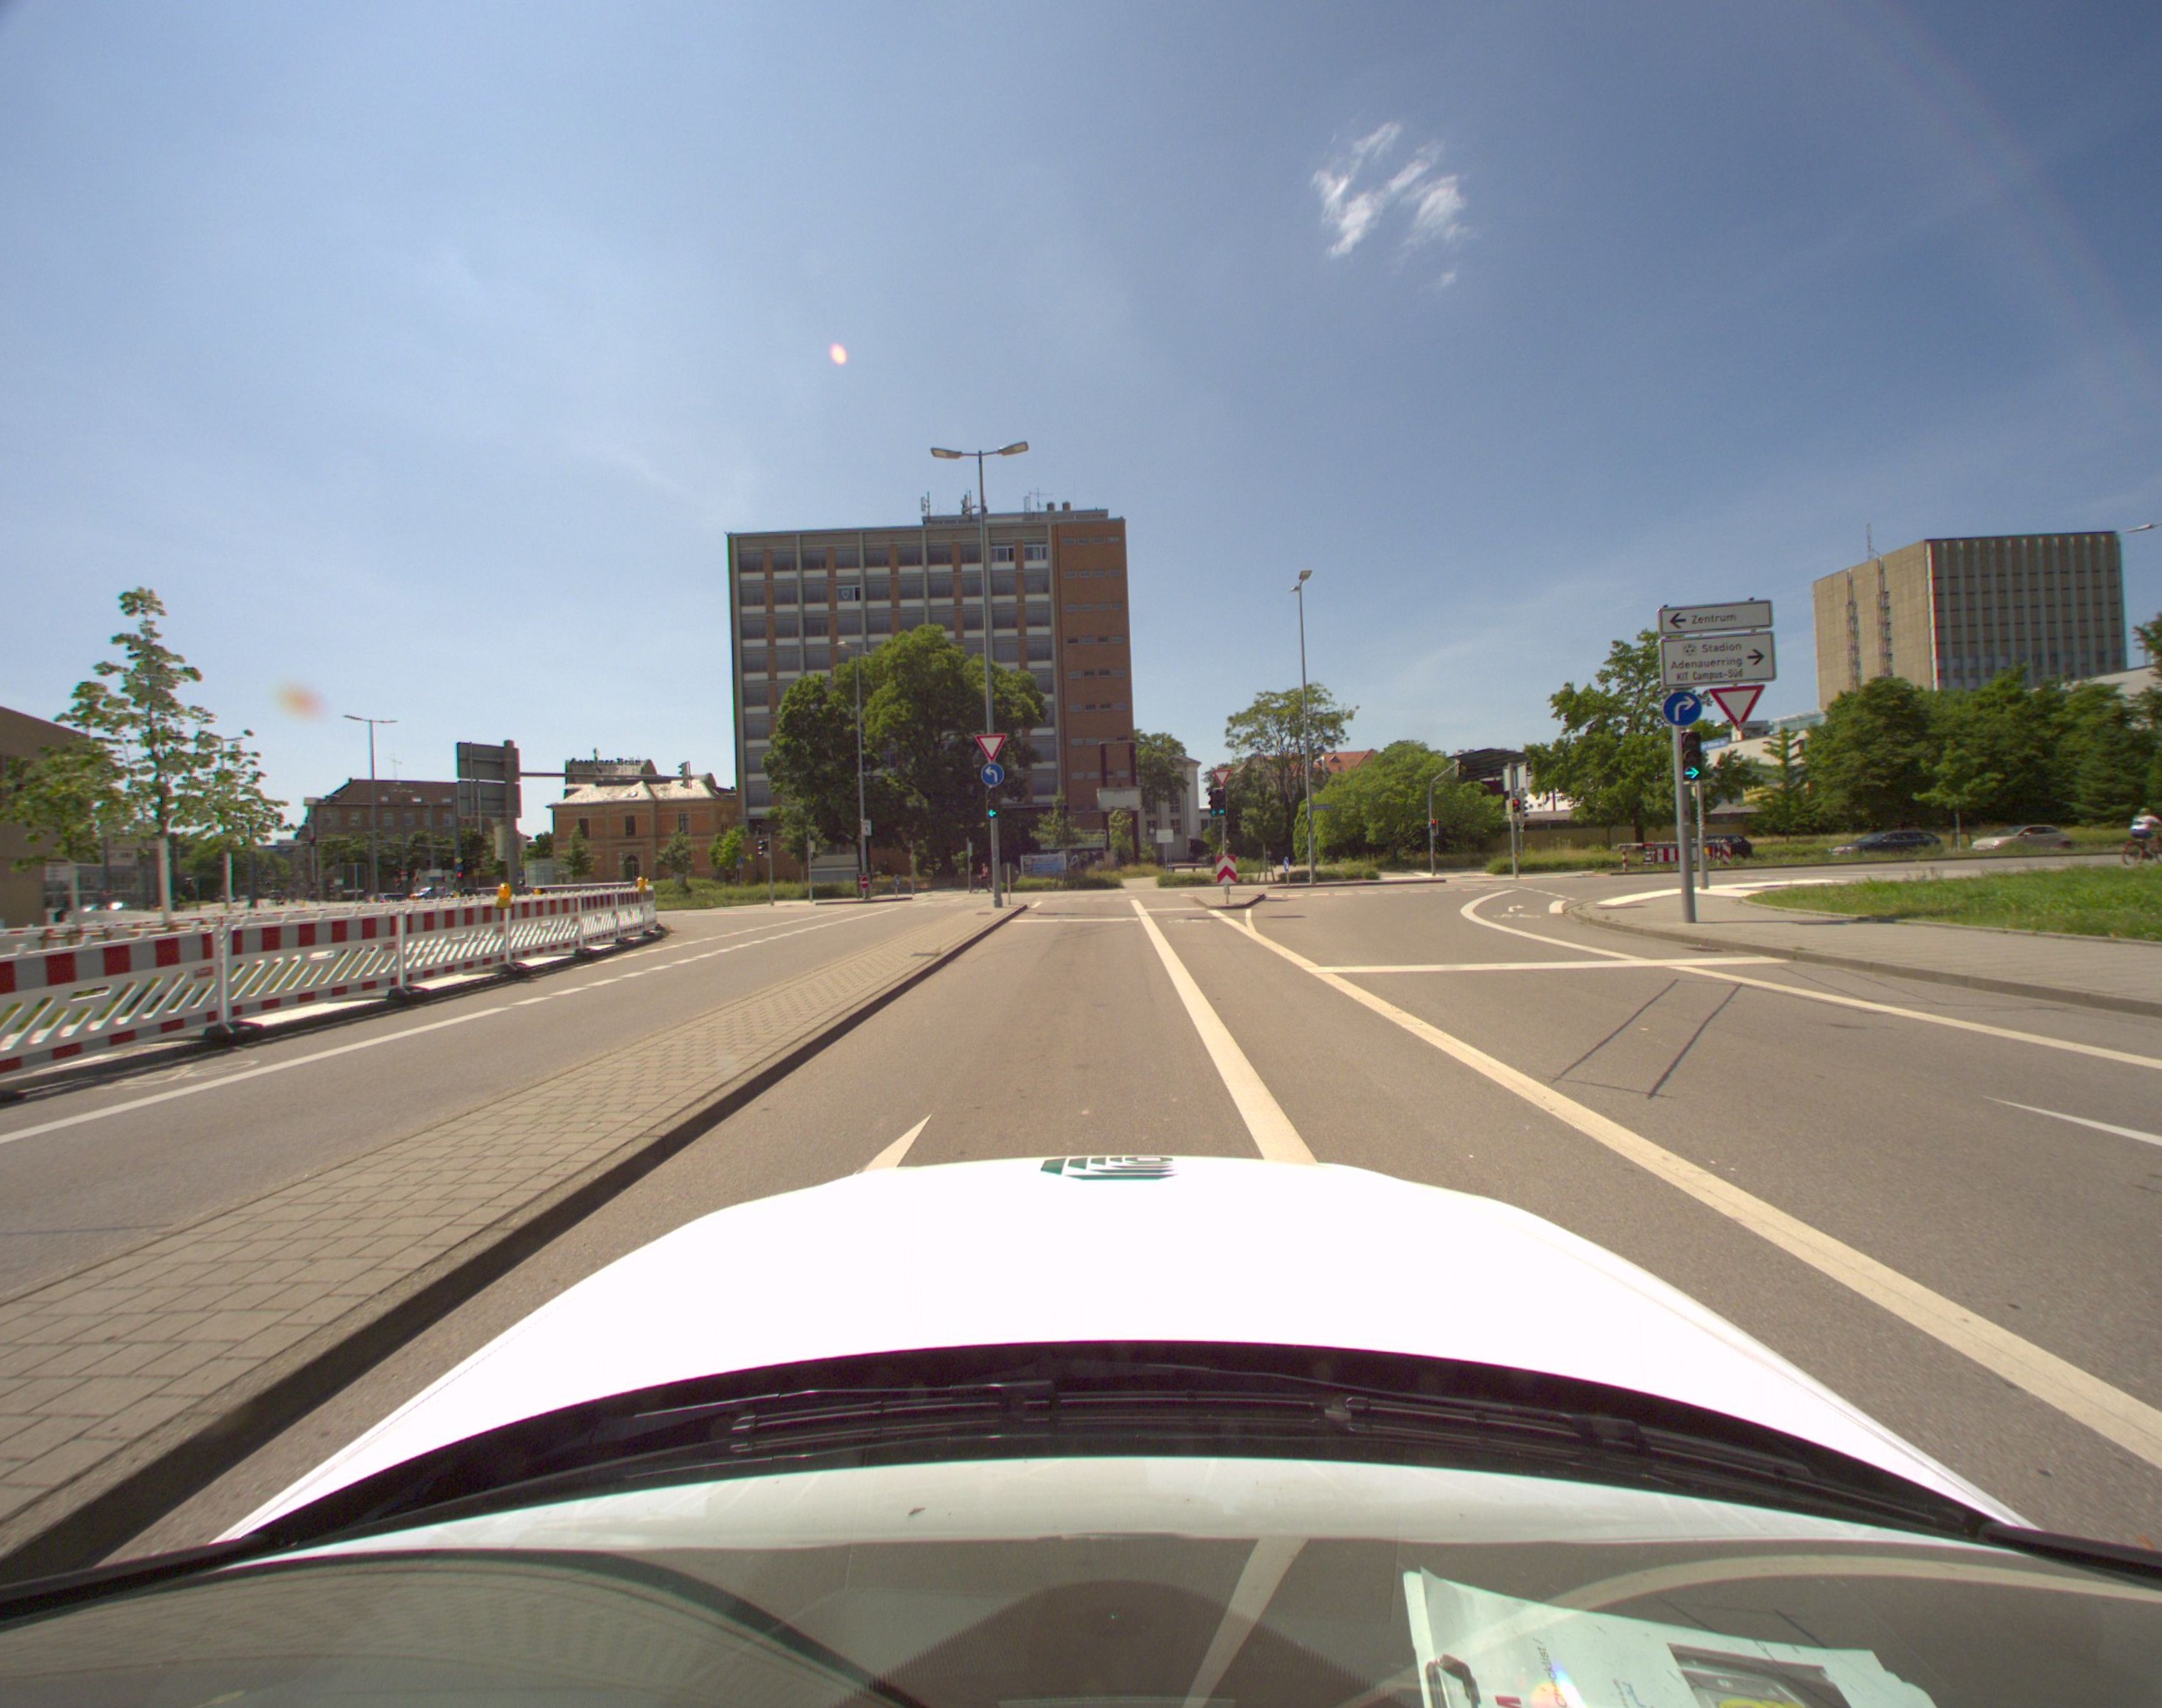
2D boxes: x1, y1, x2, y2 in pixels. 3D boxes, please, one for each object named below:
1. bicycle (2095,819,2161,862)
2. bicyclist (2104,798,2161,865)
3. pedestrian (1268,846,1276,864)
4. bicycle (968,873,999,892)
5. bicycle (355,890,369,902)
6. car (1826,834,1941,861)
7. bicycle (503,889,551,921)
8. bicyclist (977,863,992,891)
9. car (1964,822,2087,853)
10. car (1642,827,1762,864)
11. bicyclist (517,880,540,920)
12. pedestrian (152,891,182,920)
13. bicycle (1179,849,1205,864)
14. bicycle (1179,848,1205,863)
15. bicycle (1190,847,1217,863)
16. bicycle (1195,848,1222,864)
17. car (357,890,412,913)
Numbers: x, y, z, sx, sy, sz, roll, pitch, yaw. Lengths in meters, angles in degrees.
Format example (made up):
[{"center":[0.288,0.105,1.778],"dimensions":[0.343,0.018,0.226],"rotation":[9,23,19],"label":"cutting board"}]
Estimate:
[{"center":[30.644,-0.394,23.588],"dimensions":[2.182,1.237,0.520],"rotation":[0,-1,-7],"label":"bicycle"},{"center":[30.622,-0.646,23.608],"dimensions":[1.134,1.887,0.707],"rotation":[0,-1,-7],"label":"bicyclist"},{"center":[17.998,0.109,76.732],"dimensions":[0.637,1.665,0.707],"rotation":[0,-1,0],"label":"pedestrian"},{"center":[-6.145,1.780,51.405],"dimensions":[0.551,1.045,2.009],"rotation":[-1,1,43],"label":"bicycle"},{"center":[-108.785,6.332,123.271],"dimensions":[3.140,1.788,0.618],"rotation":[-1,-1,30],"label":"bicycle"},{"center":[39.715,-0.305,40.368],"dimensions":[3.973,1.310,1.760],"rotation":[0,0,1],"label":"car"},{"center":[-22.146,2.054,32.561],"dimensions":[1.877,1.180,0.527],"rotation":[-4,-1,18],"label":"bicycle"},{"center":[-6.083,1.439,51.567],"dimensions":[0.544,1.715,0.707],"rotation":[-1,1,42],"label":"bicyclist"},{"center":[46.445,-0.812,40.104],"dimensions":[3.973,1.439,1.760],"rotation":[0,0,1],"label":"car"},{"center":[31.161,-0.404,41.000],"dimensions":[4.516,1.586,1.712],"rotation":[-3,-1,7],"label":"car"},{"center":[-22.105,1.841,32.571],"dimensions":[0.492,1.580,0.534],"rotation":[-4,-1,19],"label":"bicyclist"},{"center":[-64.690,3.629,57.654],"dimensions":[0.891,1.933,1.189],"rotation":[-1,-1,24],"label":"pedestrian"},{"center":[15.307,0.295,112.304],"dimensions":[3.432,2.014,0.761],"rotation":[0,-1,3],"label":"bicycle"},{"center":[15.014,0.253,109.962],"dimensions":[3.432,2.014,0.761],"rotation":[0,-1,3],"label":"bicycle"},{"center":[16.158,0.141,107.739],"dimensions":[3.432,2.014,0.761],"rotation":[0,-1,3],"label":"bicycle"},{"center":[16.559,0.215,105.768],"dimensions":[3.432,2.014,0.761],"rotation":[0,-1,3],"label":"bicycle"},{"center":[-53.491,3.665,62.542],"dimensions":[4.528,1.557,1.733],"rotation":[-3,-1,30],"label":"car"}]
